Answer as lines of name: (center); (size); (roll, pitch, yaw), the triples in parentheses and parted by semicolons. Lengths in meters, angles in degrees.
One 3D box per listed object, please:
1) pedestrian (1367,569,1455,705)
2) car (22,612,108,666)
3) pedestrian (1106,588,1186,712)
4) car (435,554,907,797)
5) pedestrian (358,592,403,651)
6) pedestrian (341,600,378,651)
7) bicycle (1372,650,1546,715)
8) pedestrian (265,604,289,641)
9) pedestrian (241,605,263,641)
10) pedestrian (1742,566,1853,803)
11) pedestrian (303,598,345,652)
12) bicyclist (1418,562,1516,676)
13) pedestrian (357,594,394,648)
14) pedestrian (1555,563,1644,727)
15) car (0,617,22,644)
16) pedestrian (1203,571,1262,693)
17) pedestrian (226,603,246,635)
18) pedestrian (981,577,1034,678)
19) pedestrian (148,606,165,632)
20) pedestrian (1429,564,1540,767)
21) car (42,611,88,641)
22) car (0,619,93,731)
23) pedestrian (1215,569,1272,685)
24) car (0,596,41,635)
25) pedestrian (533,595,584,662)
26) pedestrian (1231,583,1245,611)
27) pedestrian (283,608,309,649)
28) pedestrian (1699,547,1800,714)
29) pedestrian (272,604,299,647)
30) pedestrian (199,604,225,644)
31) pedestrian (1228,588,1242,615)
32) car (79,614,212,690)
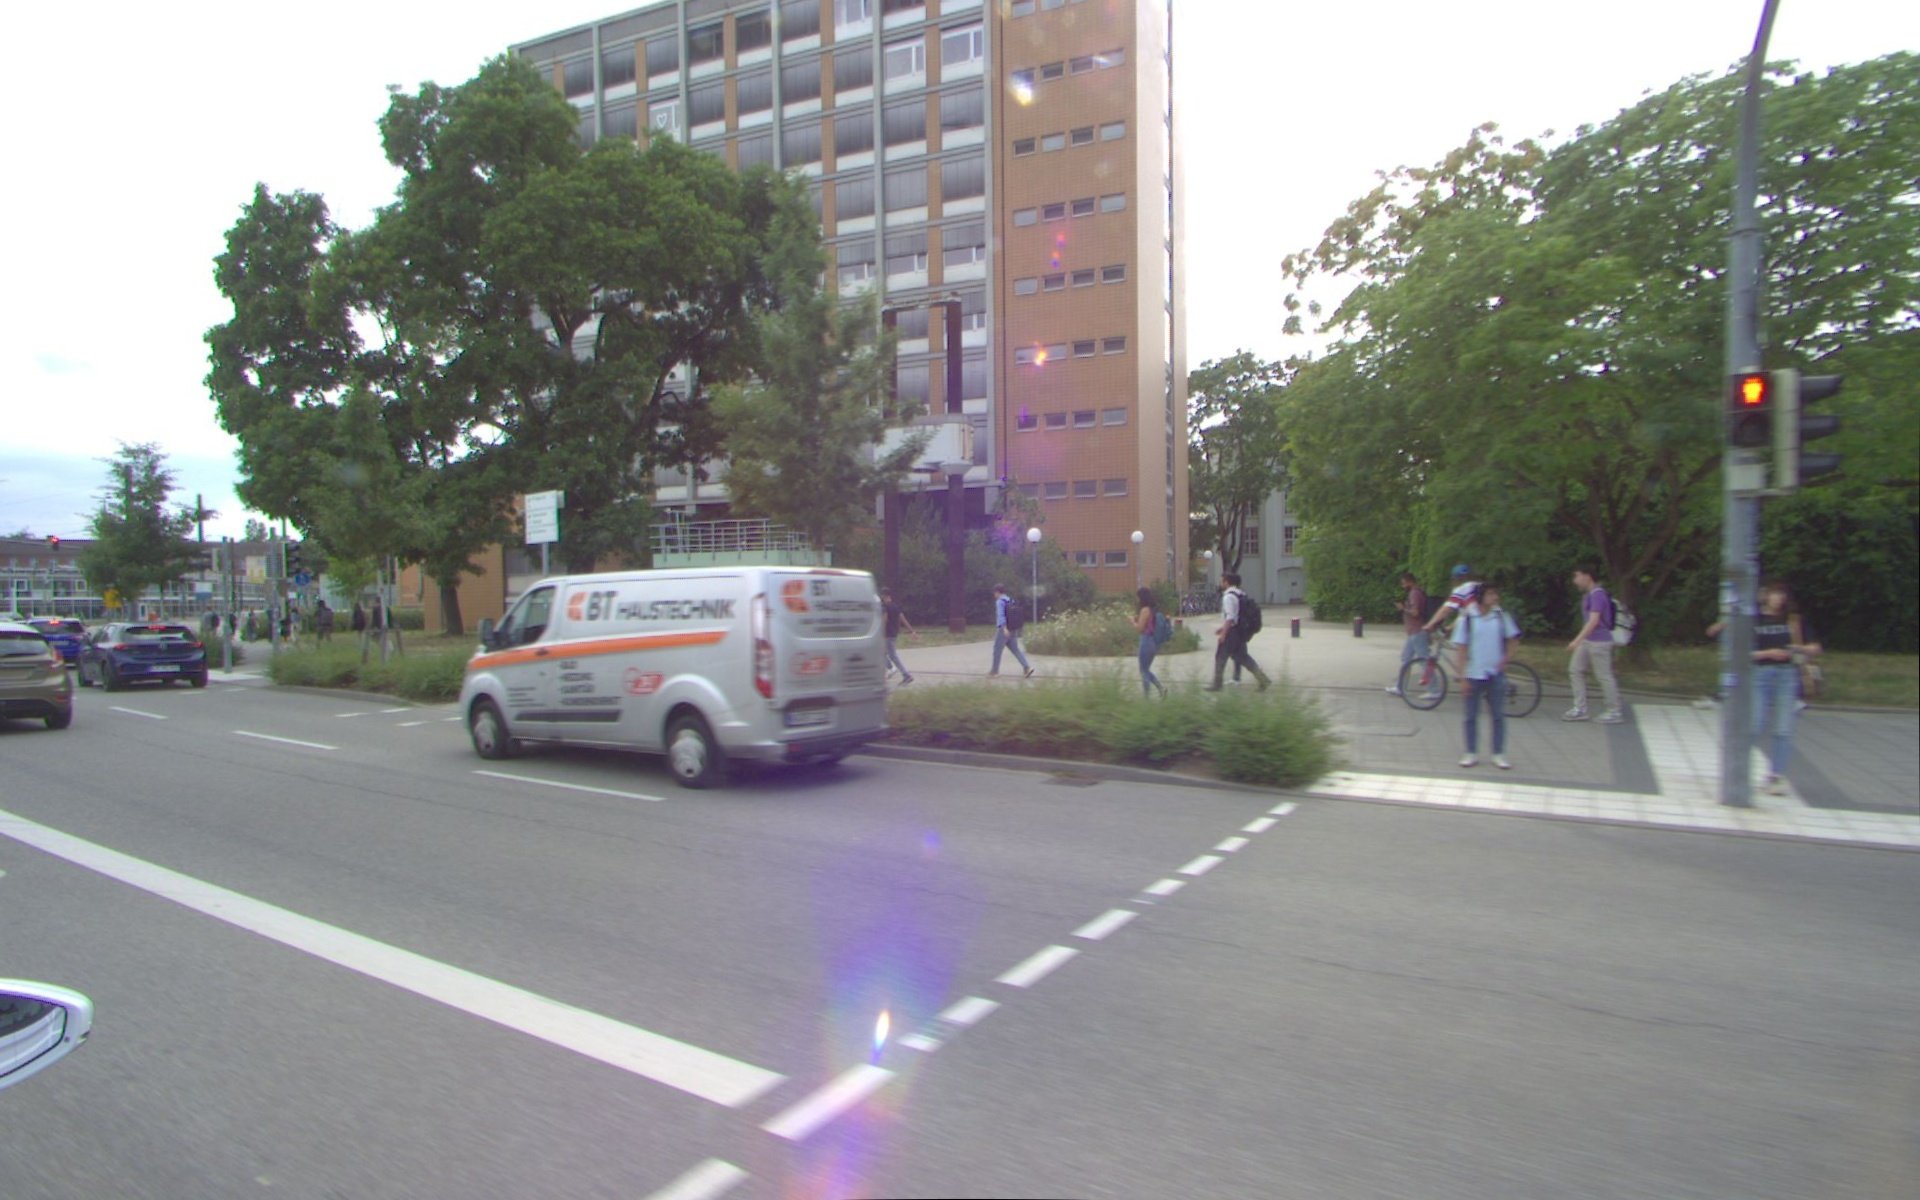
pedestrian: (6.042, 0.490, 13.408); (0.998, 1.733, 0.836); (-1, -1, 30)
car: (-27.373, 1.175, 30.610); (1.845, 1.552, 3.965); (1, -2, -43)
pedestrian: (2.503, 0.644, 13.442); (0.788, 1.564, 0.835); (0, 3, 30)
car: (-3.145, 0.680, 10.365); (5.132, 1.984, 1.816); (-1, -2, 33)
pedestrian: (-17.255, 0.648, 29.810); (1.012, 1.733, 0.777); (-1, -1, 30)
pedestrian: (-20.543, 0.872, 34.270); (0.800, 1.733, 0.777); (-1, -1, 30)
bicycle: (5.976, 0.965, 12.027); (1.818, 0.703, 0.840); (-1, -2, 31)
pedestrian: (-30.456, 0.999, 44.641); (0.770, 1.595, 0.806); (-3, 2, -37)
pedestrian: (-32.504, 1.063, 45.965); (0.770, 1.595, 0.806); (-3, 2, -37)
pedestrian: (6.415, 0.630, 7.697); (0.579, 1.733, 0.479); (-1, -1, 33)
pedestrian: (-20.880, 0.836, 32.864); (1.012, 1.733, 0.777); (-1, -1, 30)
bicyclist: (6.072, 0.234, 11.986); (0.998, 1.294, 0.836); (-1, -1, 30)
pedestrian: (-19.160, 0.704, 32.831); (0.800, 1.733, 0.777); (-1, -1, 30)
pedestrian: (7.115, 0.493, 11.181); (0.788, 1.733, 0.836); (-1, -1, 30)
car: (-52.700, 1.689, 54.986); (1.699, 1.438, 3.963); (1, -2, -42)
pedestrian: (4.011, 0.472, 14.723); (0.698, 1.733, 0.637); (0, -1, 30)
pedestrian: (-37.091, 0.966, 51.296); (0.770, 1.595, 0.806); (-3, 2, -37)
pedestrian: (0.843, 0.469, 17.713); (0.698, 1.734, 0.636); (0, 2, 30)
pedestrian: (-51.291, 1.198, 63.915); (0.770, 1.595, 0.806); (-3, 2, -37)
pedestrian: (4.773, 0.577, 9.099); (0.828, 1.733, 0.796); (-1, -1, 33)
car: (-45.356, 1.335, 50.721); (1.692, 1.438, 3.666); (1, -2, -42)
car: (-13.682, 0.981, 13.734); (3.646, 1.422, 1.693); (-1, -2, 32)
pedestrian: (4.353, 0.418, 15.369); (0.698, 1.733, 0.637); (0, -1, 30)
car: (-37.211, 0.624, 38.977); (2.118, 1.438, 3.666); (1, -2, -43)
pedestrian: (-9.907, 0.695, 24.723); (0.800, 1.595, 0.776); (-1, 2, 30)
pedestrian: (17.797, -0.180, 64.068); (0.631, 1.734, 0.704); (0, 1, 35)
pedestrian: (-26.567, 1.139, 40.064); (0.770, 1.595, 0.806); (-3, 2, -37)
pedestrian: (9.081, 0.350, 11.557); (0.788, 1.831, 0.836); (0, -1, 30)
pedestrian: (-26.159, 0.984, 38.817); (0.770, 1.595, 0.806); (-3, 2, -37)
pedestrian: (-30.573, 0.975, 40.942); (0.770, 1.595, 0.806); (-3, 2, -37)
pedestrian: (17.891, 0.121, 65.104); (0.631, 1.734, 0.704); (0, 1, 35)
car: (-17.856, 1.096, 21.908); (3.593, 1.527, 1.658); (-1, -2, 41)
